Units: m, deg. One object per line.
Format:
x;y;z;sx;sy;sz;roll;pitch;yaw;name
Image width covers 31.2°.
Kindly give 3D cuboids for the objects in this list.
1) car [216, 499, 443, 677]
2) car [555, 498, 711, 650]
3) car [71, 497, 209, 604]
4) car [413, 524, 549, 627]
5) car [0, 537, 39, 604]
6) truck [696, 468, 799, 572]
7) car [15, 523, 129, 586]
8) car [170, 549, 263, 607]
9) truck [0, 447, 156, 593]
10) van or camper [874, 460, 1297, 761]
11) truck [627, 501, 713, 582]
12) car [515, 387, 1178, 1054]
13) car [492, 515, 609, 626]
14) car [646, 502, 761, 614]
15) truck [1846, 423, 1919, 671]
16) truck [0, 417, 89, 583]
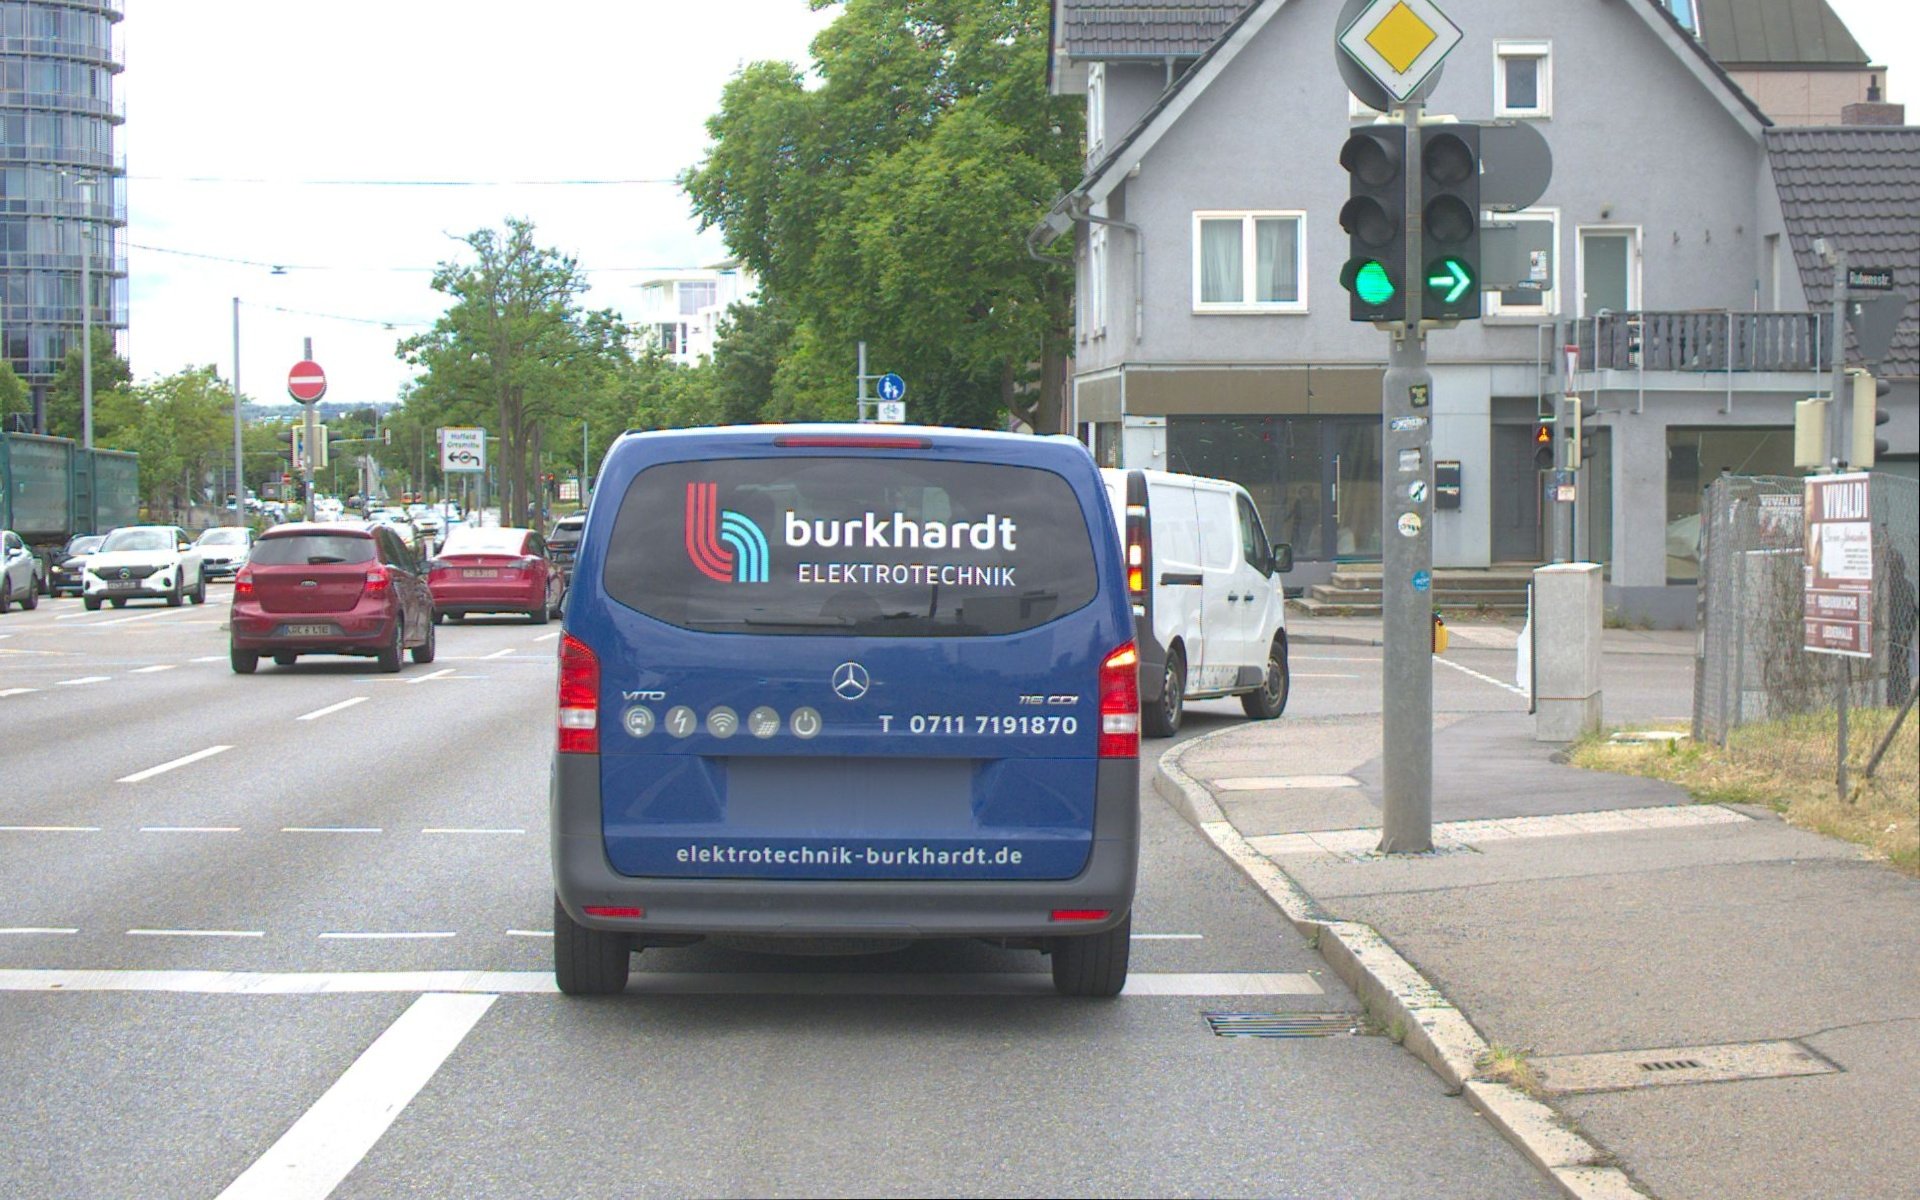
-6.455;-0.167;35.550;1.746;1.717;4.001;-1;1;-2;car
-3.875;-0.347;41.226;1.746;1.717;4.001;-1;1;-4;car
-16.166;-0.993;67.954;1.993;2.007;4.180;-1;1;-4;car
-7.313;-0.373;52.227;1.868;1.481;4.001;-1;0;-10;car
-19.350;-0.584;67.264;1.829;1.258;4.001;-1;1;-4;car
-4.690;-1.775;76.572;1.993;2.158;5.560;2;1;-1;truck
-20.604;-1.073;79.918;1.797;1.412;4.001;-1;1;-3;car
-21.044;-0.645;97.427;1.993;1.568;4.001;-1;1;-4;car
-24.085;-2.135;92.463;3.367;3.714;8.028;-1;1;-3;truck
1.093;-0.035;26.429;1.995;2.006;5.092;2;3;16;van or camper
-8.080;-1.642;96.279;1.993;2.158;5.560;2;1;-1;truck
-0.524;0.316;12.430;1.947;1.959;4.542;0;1;-5;car
-7.965;-0.603;66.612;1.993;2.006;4.002;1;2;-10;car
-4.071;-0.697;54.991;1.746;1.717;4.001;-1;1;-3;car
13.454;-0.473;38.577;6.386;2.691;2.000;2;1;-1;truck
-23.551;-2.332;82.103;3.367;3.714;11.282;0;1;-4;truck
